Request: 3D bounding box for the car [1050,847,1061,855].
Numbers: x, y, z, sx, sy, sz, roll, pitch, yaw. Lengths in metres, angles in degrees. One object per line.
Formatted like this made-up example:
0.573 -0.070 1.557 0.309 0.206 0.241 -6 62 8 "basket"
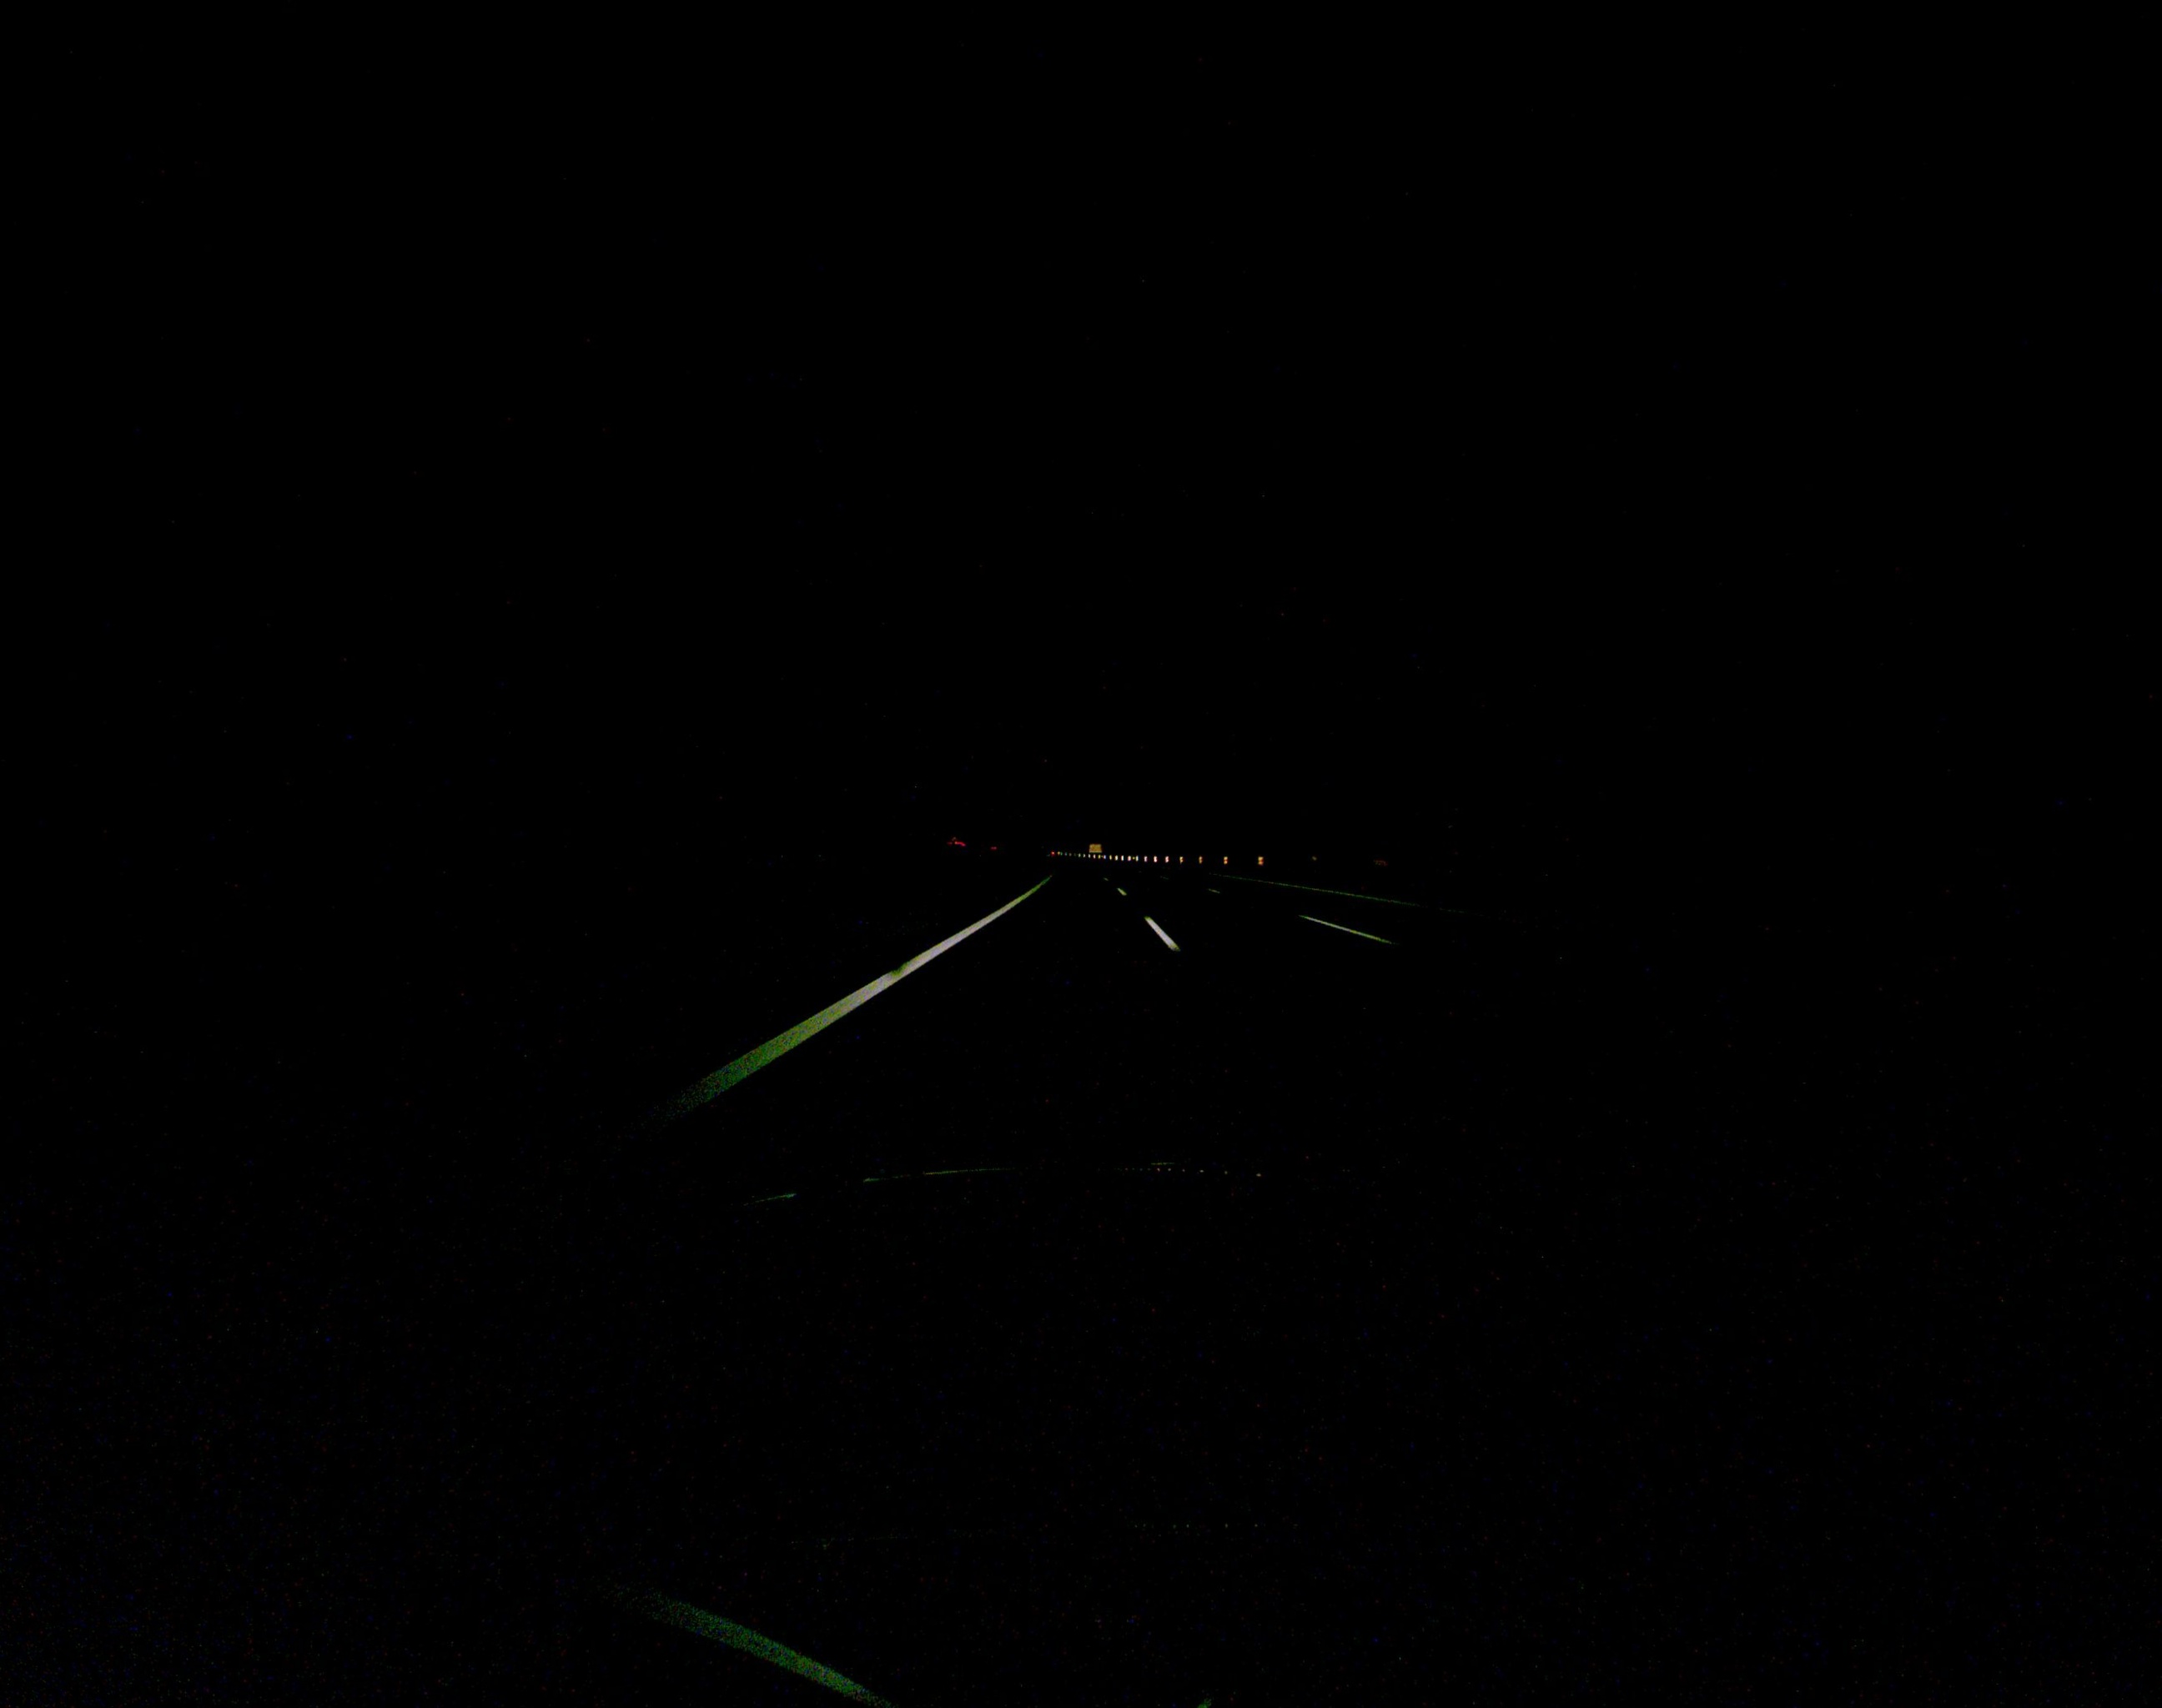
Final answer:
-7.851 -0.919 250.807 2.530 2.553 6.027 0 1 -12 "car"
